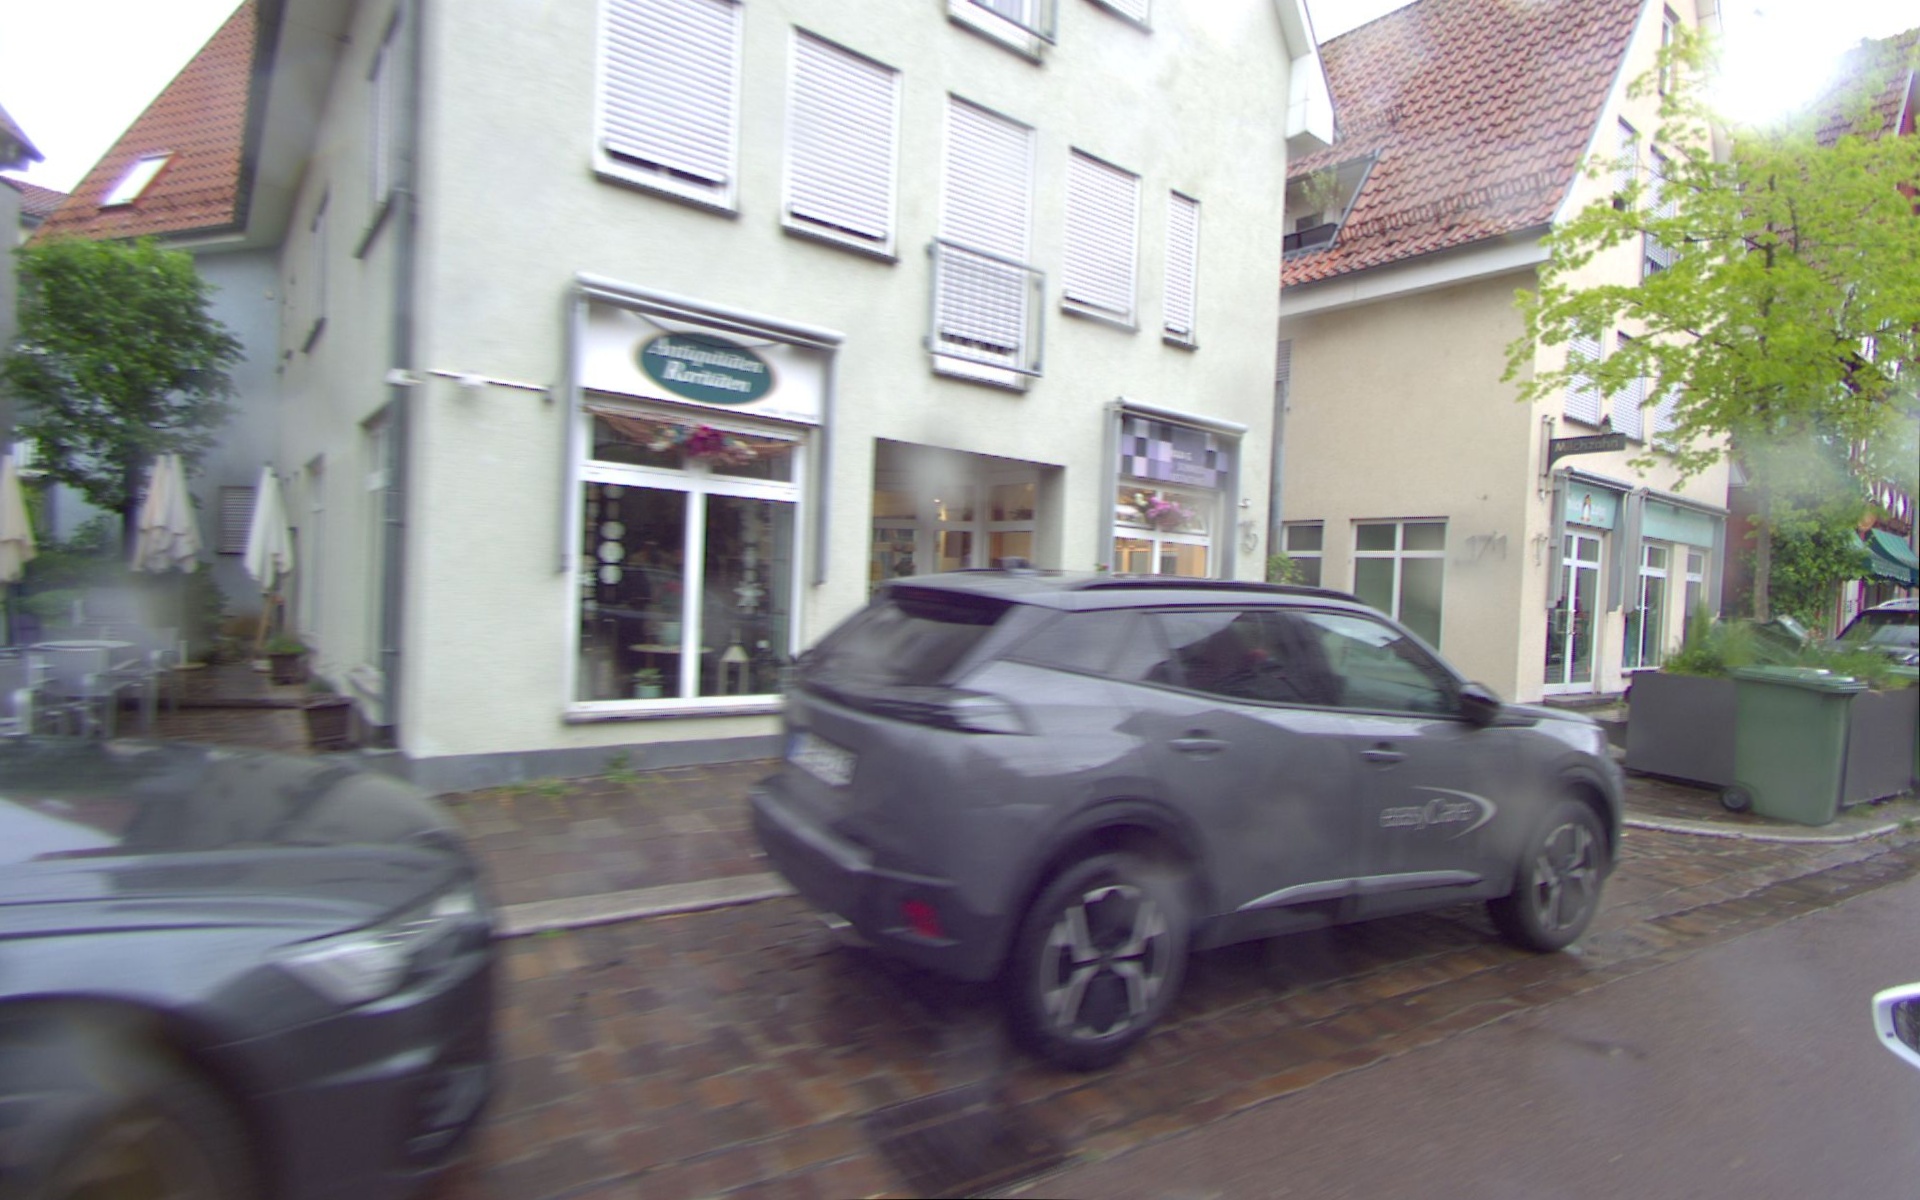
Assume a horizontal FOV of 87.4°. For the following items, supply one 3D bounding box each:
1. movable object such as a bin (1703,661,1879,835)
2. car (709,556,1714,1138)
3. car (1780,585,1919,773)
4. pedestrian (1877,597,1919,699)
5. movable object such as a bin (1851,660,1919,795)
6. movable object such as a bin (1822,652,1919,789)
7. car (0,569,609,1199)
[{"bbox_3d":[5.980,1.025,7.241,0.736,1.097,0.742,3,1,-33],"label":"movable object such as a bin"},{"bbox_3d":[1.242,0.685,4.567,4.275,1.545,1.853,1,3,-29],"label":"car"},{"bbox_3d":[10.740,0.849,10.509,4.589,1.688,1.815,3,1,-31],"label":"car"},{"bbox_3d":[16.799,0.851,17.596,1.165,1.704,0.783,3,1,-36],"label":"pedestrian"},{"bbox_3d":[7.955,1.058,8.436,0.529,1.060,0.548,3,1,-35],"label":"movable object such as a bin"},{"bbox_3d":[8.344,1.064,9.073,0.773,1.116,0.612,3,1,-34],"label":"movable object such as a bin"},{"bbox_3d":[-3.157,0.663,1.607,4.574,1.461,1.849,1,2,-36],"label":"car"}]
